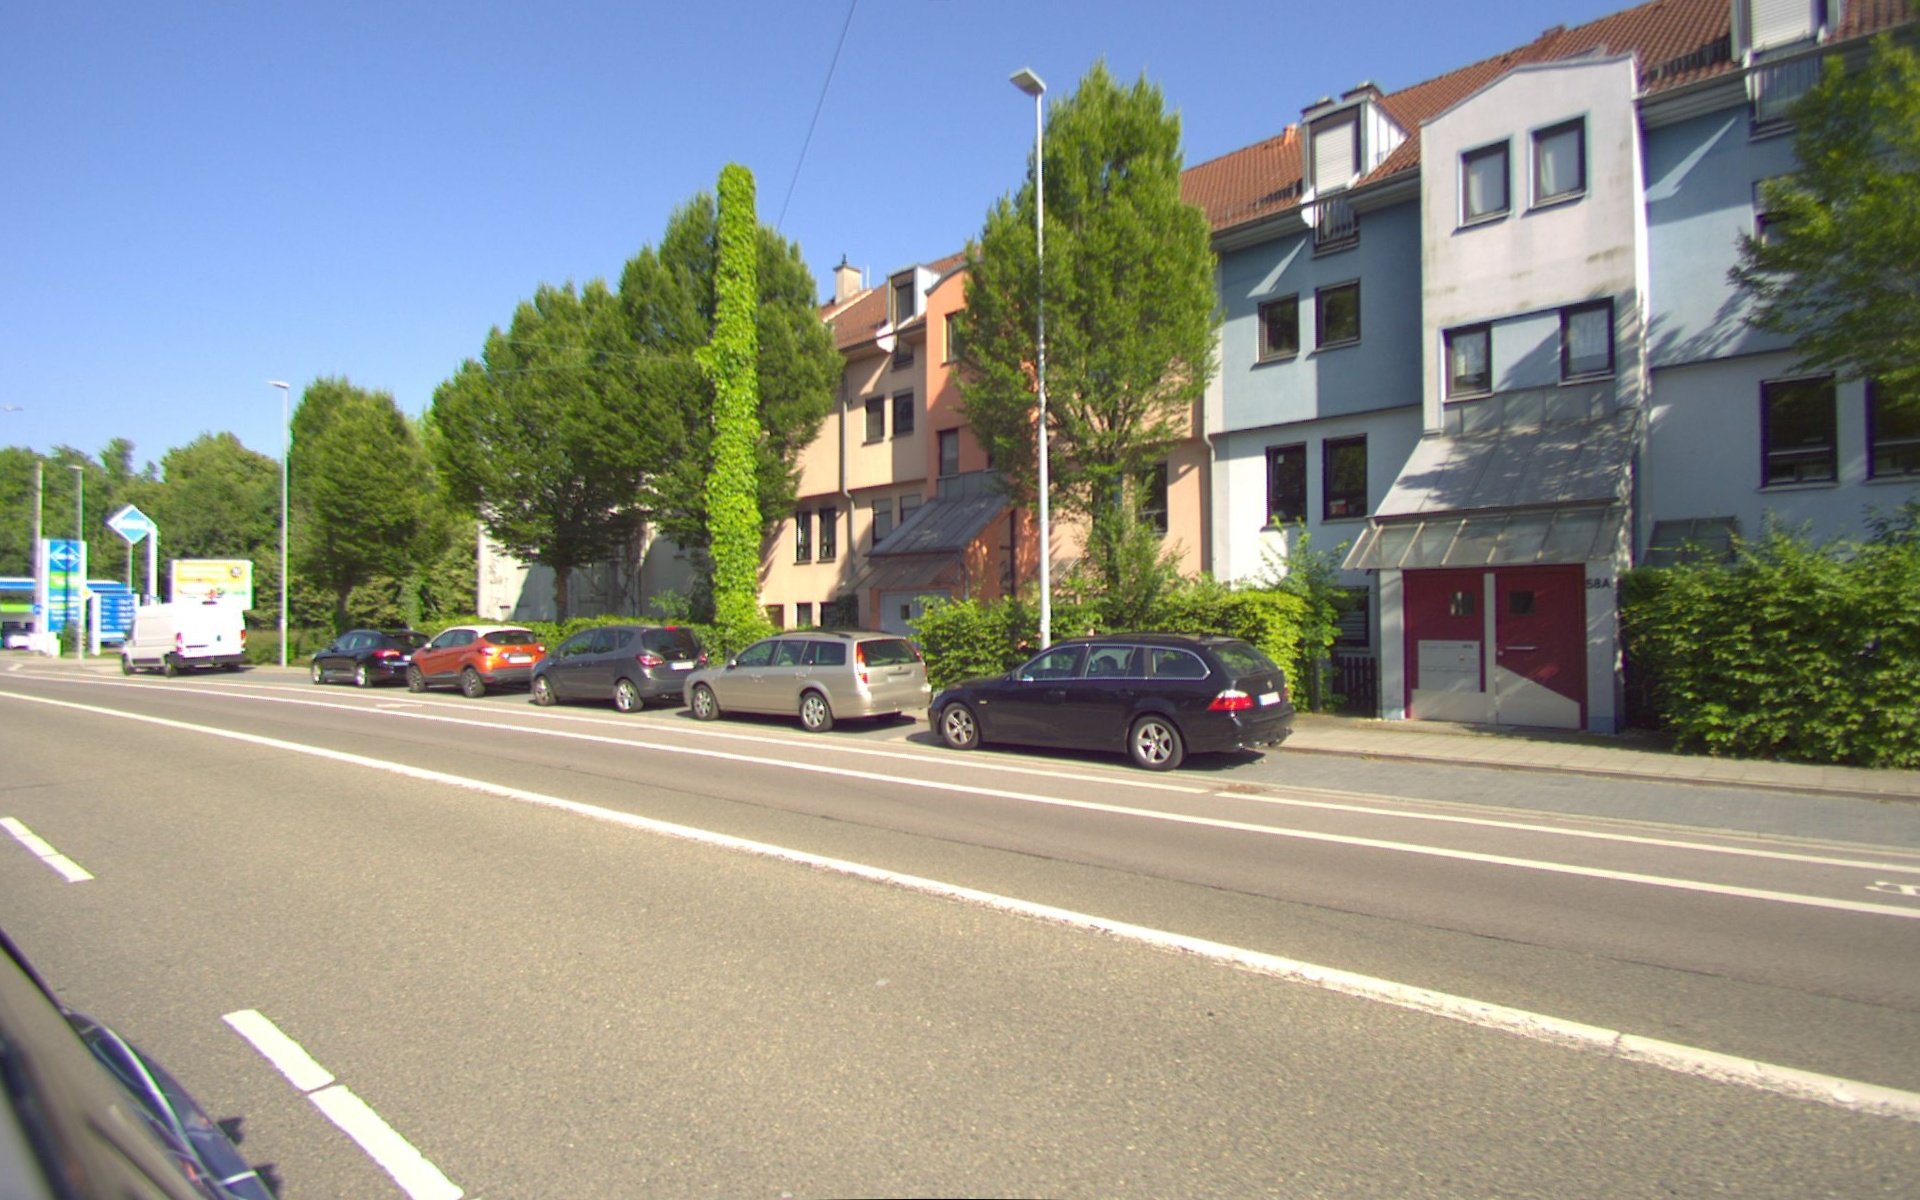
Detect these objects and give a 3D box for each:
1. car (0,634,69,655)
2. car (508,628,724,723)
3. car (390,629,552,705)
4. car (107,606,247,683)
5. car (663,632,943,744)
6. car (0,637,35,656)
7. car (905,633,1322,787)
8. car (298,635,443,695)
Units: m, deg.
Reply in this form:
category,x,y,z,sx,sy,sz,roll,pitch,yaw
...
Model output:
category,x,y,z,sx,sy,sz,roll,pitch,yaw
car,-89.621,4.282,97.755,1.855,1.955,5.021,-2,-3,39
car,-6.766,1.393,19.741,4.287,1.585,1.748,-1,0,34
car,-11.466,1.488,23.648,4.155,1.586,1.746,-1,-2,38
car,-27.726,1.547,35.759,6.168,2.476,2.134,-2,0,35
car,-2.683,1.311,16.485,4.839,1.482,1.696,-1,0,39
car,-78.641,3.860,84.170,4.266,1.502,1.721,-2,-3,36
car,1.715,1.203,12.509,4.904,1.483,1.693,-2,0,39
car,-15.704,1.678,26.878,4.705,1.435,1.637,-2,-2,37
